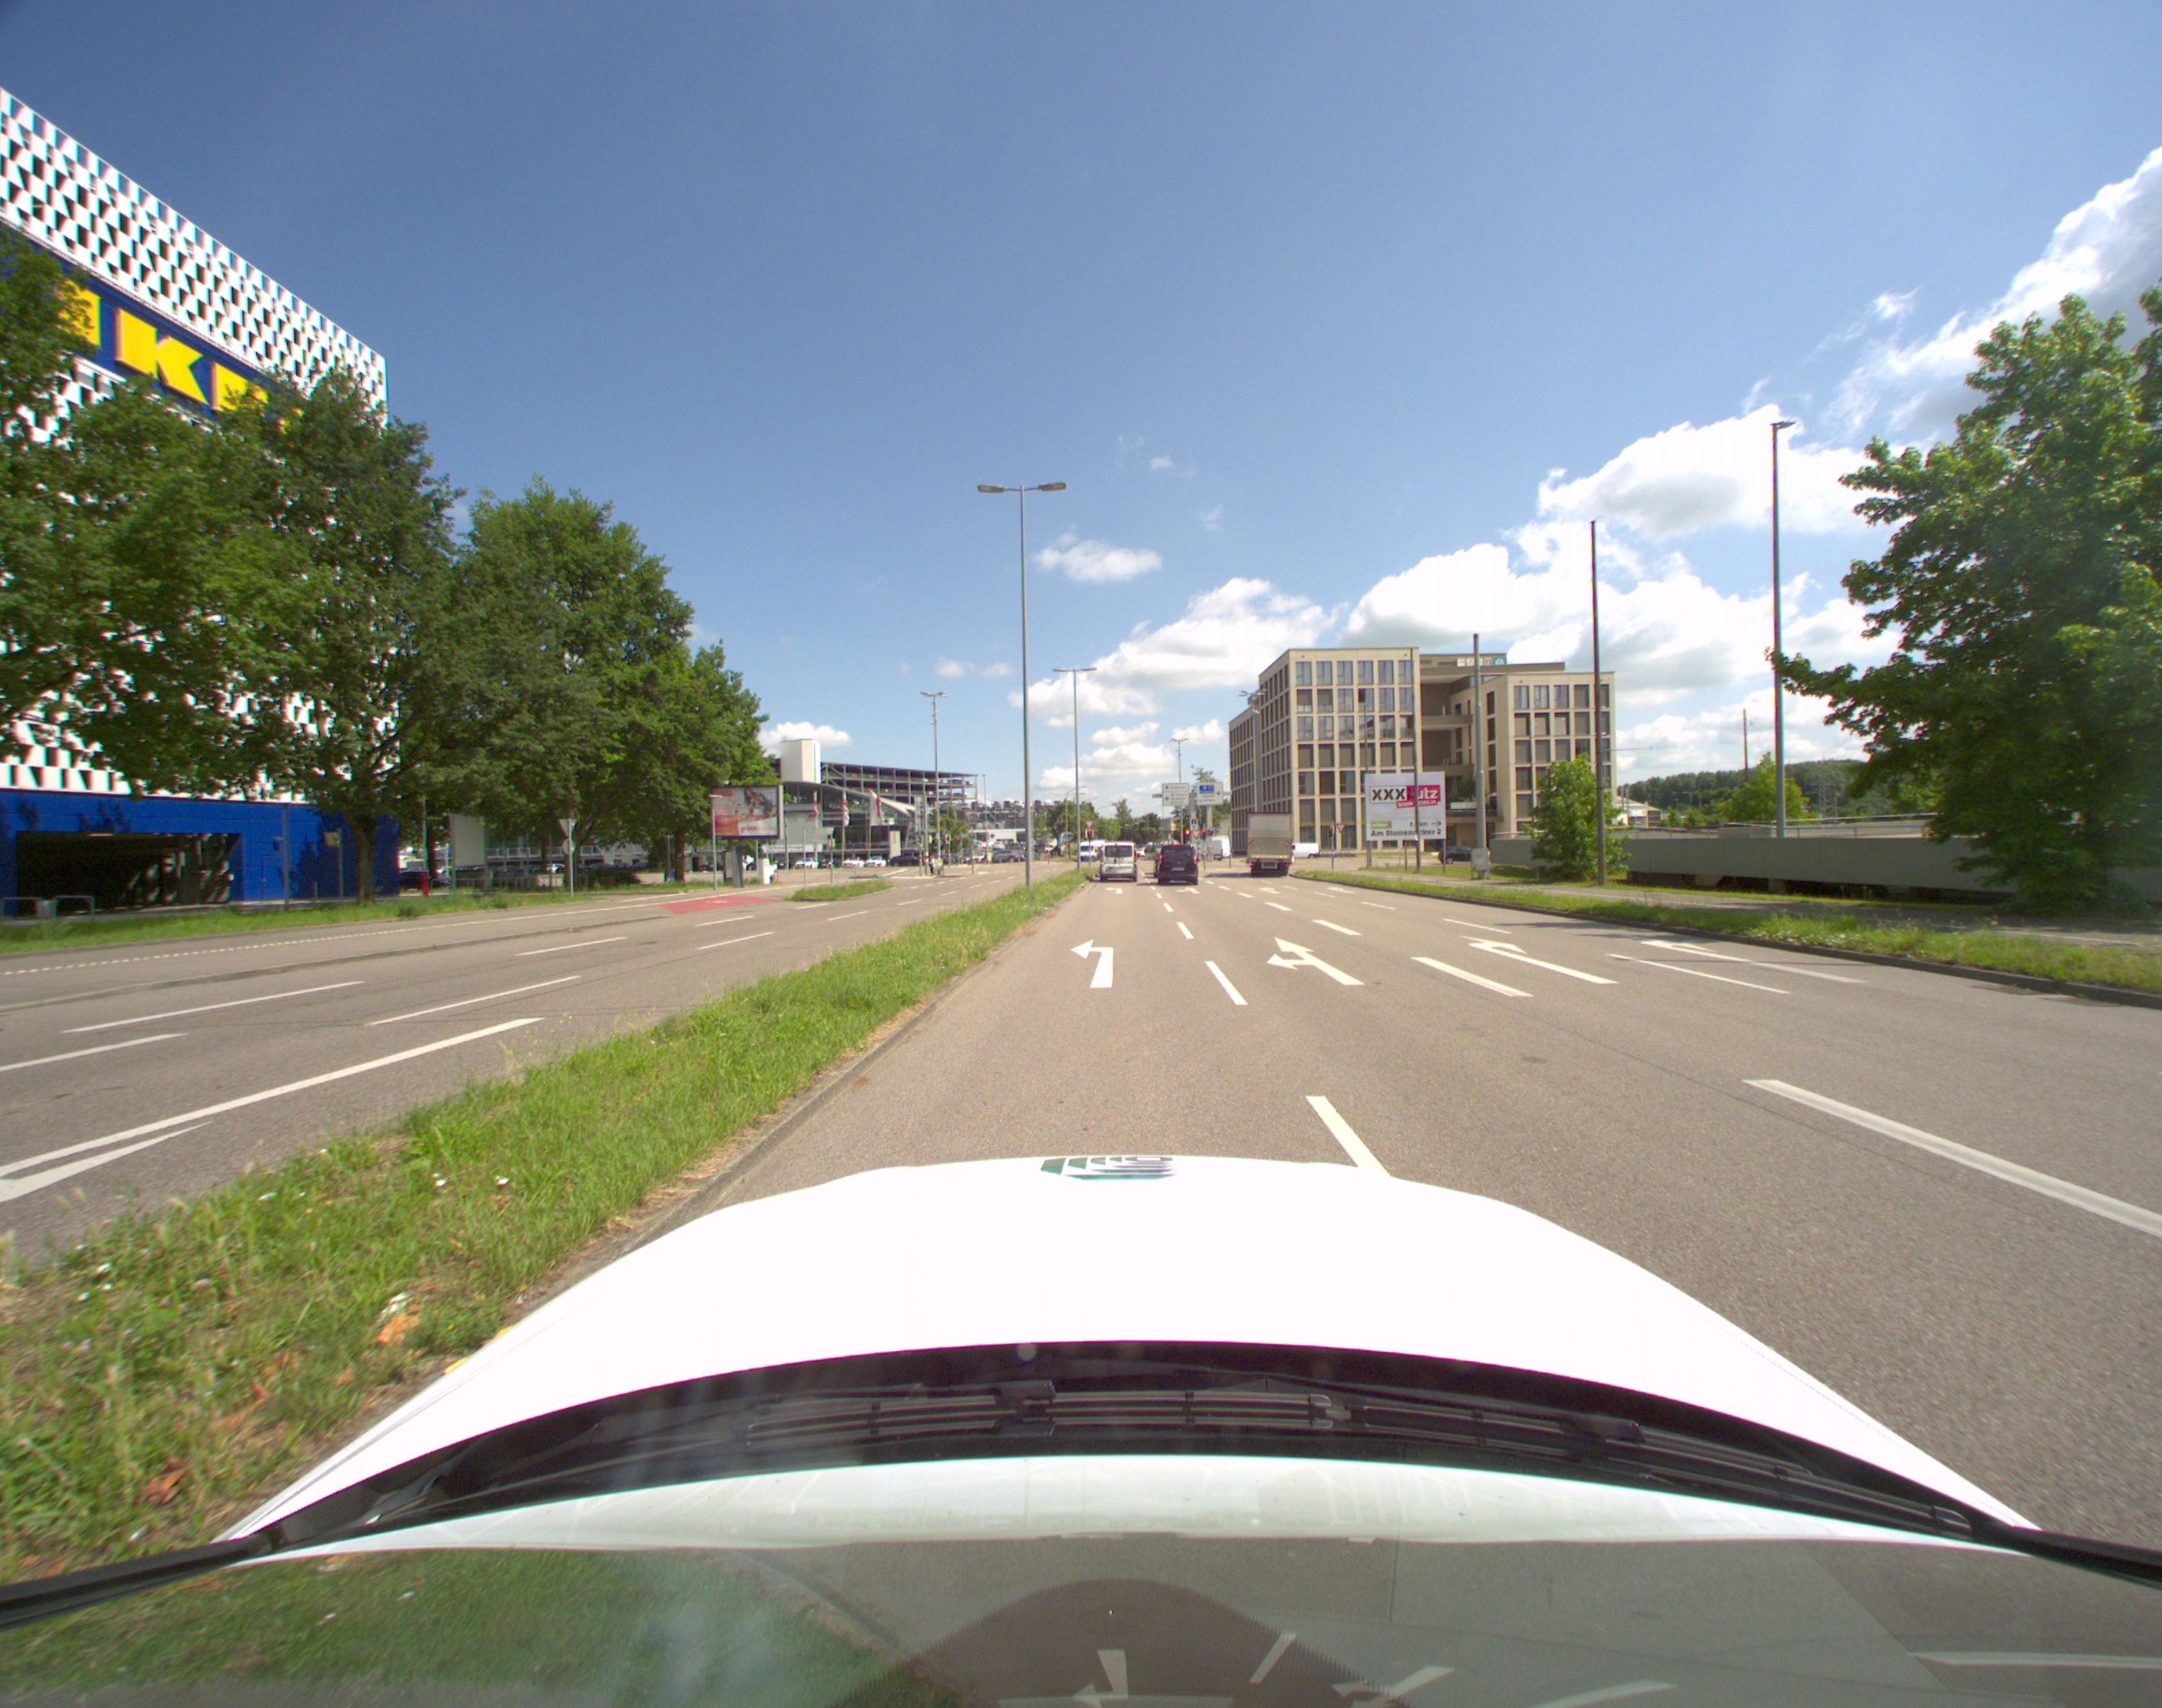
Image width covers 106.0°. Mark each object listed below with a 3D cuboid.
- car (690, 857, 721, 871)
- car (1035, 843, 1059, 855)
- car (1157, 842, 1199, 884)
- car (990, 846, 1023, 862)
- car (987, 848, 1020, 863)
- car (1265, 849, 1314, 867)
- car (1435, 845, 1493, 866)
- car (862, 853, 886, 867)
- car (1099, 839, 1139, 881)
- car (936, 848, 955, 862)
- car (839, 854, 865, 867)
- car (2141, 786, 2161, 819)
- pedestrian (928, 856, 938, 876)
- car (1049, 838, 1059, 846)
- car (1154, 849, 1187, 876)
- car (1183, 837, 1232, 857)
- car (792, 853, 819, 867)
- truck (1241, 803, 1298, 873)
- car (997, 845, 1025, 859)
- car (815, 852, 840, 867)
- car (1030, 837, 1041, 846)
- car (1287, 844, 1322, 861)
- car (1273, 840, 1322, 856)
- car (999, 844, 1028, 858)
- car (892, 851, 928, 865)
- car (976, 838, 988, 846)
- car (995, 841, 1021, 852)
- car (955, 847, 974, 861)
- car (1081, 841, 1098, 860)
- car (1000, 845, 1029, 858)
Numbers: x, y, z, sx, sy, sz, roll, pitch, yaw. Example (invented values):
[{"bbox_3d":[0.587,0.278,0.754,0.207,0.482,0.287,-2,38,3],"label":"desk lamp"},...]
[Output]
[{"bbox_3d":[-42.882,1.100,93.099,1.832,1.487,3.699,-1,1,-2],"label":"car"},{"bbox_3d":[-5.521,-0.827,132.000,3.979,1.925,1.824,-1,0,-4],"label":"car"},{"bbox_3d":[4.431,0.383,37.599,1.810,1.808,4.007,0,1,6],"label":"car"},{"bbox_3d":[-9.390,-0.030,103.108,3.901,1.712,1.688,-3,1,-1],"label":"car"},{"bbox_3d":[-9.504,0.188,100.482,3.850,1.639,1.857,-3,1,-1],"label":"car"},{"bbox_3d":[17.905,0.358,70.184,3.835,1.466,1.697,-1,1,2],"label":"car"},{"bbox_3d":[31.946,0.135,67.999,4.115,1.503,1.633,-3,1,13],"label":"car"},{"bbox_3d":[-24.193,0.647,95.304,1.770,1.450,4.028,-1,1,-1],"label":"car"},{"bbox_3d":[2.012,0.298,41.627,1.847,2.018,4.006,-1,0,5],"label":"car"},{"bbox_3d":[-15.850,0.087,95.208,1.820,1.552,3.981,-1,0,-14],"label":"car"},{"bbox_3d":[-26.722,0.751,95.110,1.902,1.375,3.751,-1,1,-1],"label":"car"},{"bbox_3d":[54.936,-2.587,39.619,1.738,1.600,3.865,-1,1,-2],"label":"car"},{"bbox_3d":[-11.135,0.887,61.293,0.464,1.512,0.515,-1,0,28],"label":"pedestrian"},{"bbox_3d":[-5.007,-2.262,153.090,1.841,1.530,3.998,-1,1,-1],"label":"car"},{"bbox_3d":[5.154,0.475,47.286,1.732,1.495,4.004,-1,0,4],"label":"car"},{"bbox_3d":[15.338,-0.834,98.892,5.443,2.255,2.013,0,1,38],"label":"car"},{"bbox_3d":[-32.071,0.657,94.795,1.873,1.486,3.700,-1,1,-1],"label":"car"},{"bbox_3d":[11.858,-0.915,50.802,3.107,3.940,8.892,-1,0,14],"label":"truck"},{"bbox_3d":[-9.494,-0.240,110.375,3.497,1.712,1.603,-3,1,-1],"label":"car"},{"bbox_3d":[-29.478,0.617,94.890,1.752,1.660,3.615,-1,1,-1],"label":"car"},{"bbox_3d":[-8.496,-2.396,152.811,1.841,1.530,3.998,-1,1,-1],"label":"car"},{"bbox_3d":[23.256,-0.161,84.862,3.262,1.405,1.335,-1,9,0],"label":"car"},{"bbox_3d":[23.918,-0.646,90.031,4.966,1.607,2.000,-1,1,0],"label":"car"},{"bbox_3d":[-9.777,-0.443,118.430,3.901,1.712,1.688,-3,1,-1],"label":"car"},{"bbox_3d":[-19.910,0.512,94.871,3.782,1.513,1.678,-1,1,-3],"label":"car"},{"bbox_3d":[-18.844,-2.263,154.651,1.841,1.530,3.998,-1,1,-1],"label":"car"},{"bbox_3d":[-11.804,-1.258,131.402,4.155,1.712,1.687,0,1,-3],"label":"car"},{"bbox_3d":[-13.726,0.032,95.704,1.820,1.552,3.981,-1,0,-14],"label":"car"},{"bbox_3d":[1.136,-0.494,102.951,1.964,2.256,4.983,-3,1,2],"label":"car"},{"bbox_3d":[-9.454,-0.373,116.163,3.901,1.712,1.688,-3,1,-1],"label":"car"}]
